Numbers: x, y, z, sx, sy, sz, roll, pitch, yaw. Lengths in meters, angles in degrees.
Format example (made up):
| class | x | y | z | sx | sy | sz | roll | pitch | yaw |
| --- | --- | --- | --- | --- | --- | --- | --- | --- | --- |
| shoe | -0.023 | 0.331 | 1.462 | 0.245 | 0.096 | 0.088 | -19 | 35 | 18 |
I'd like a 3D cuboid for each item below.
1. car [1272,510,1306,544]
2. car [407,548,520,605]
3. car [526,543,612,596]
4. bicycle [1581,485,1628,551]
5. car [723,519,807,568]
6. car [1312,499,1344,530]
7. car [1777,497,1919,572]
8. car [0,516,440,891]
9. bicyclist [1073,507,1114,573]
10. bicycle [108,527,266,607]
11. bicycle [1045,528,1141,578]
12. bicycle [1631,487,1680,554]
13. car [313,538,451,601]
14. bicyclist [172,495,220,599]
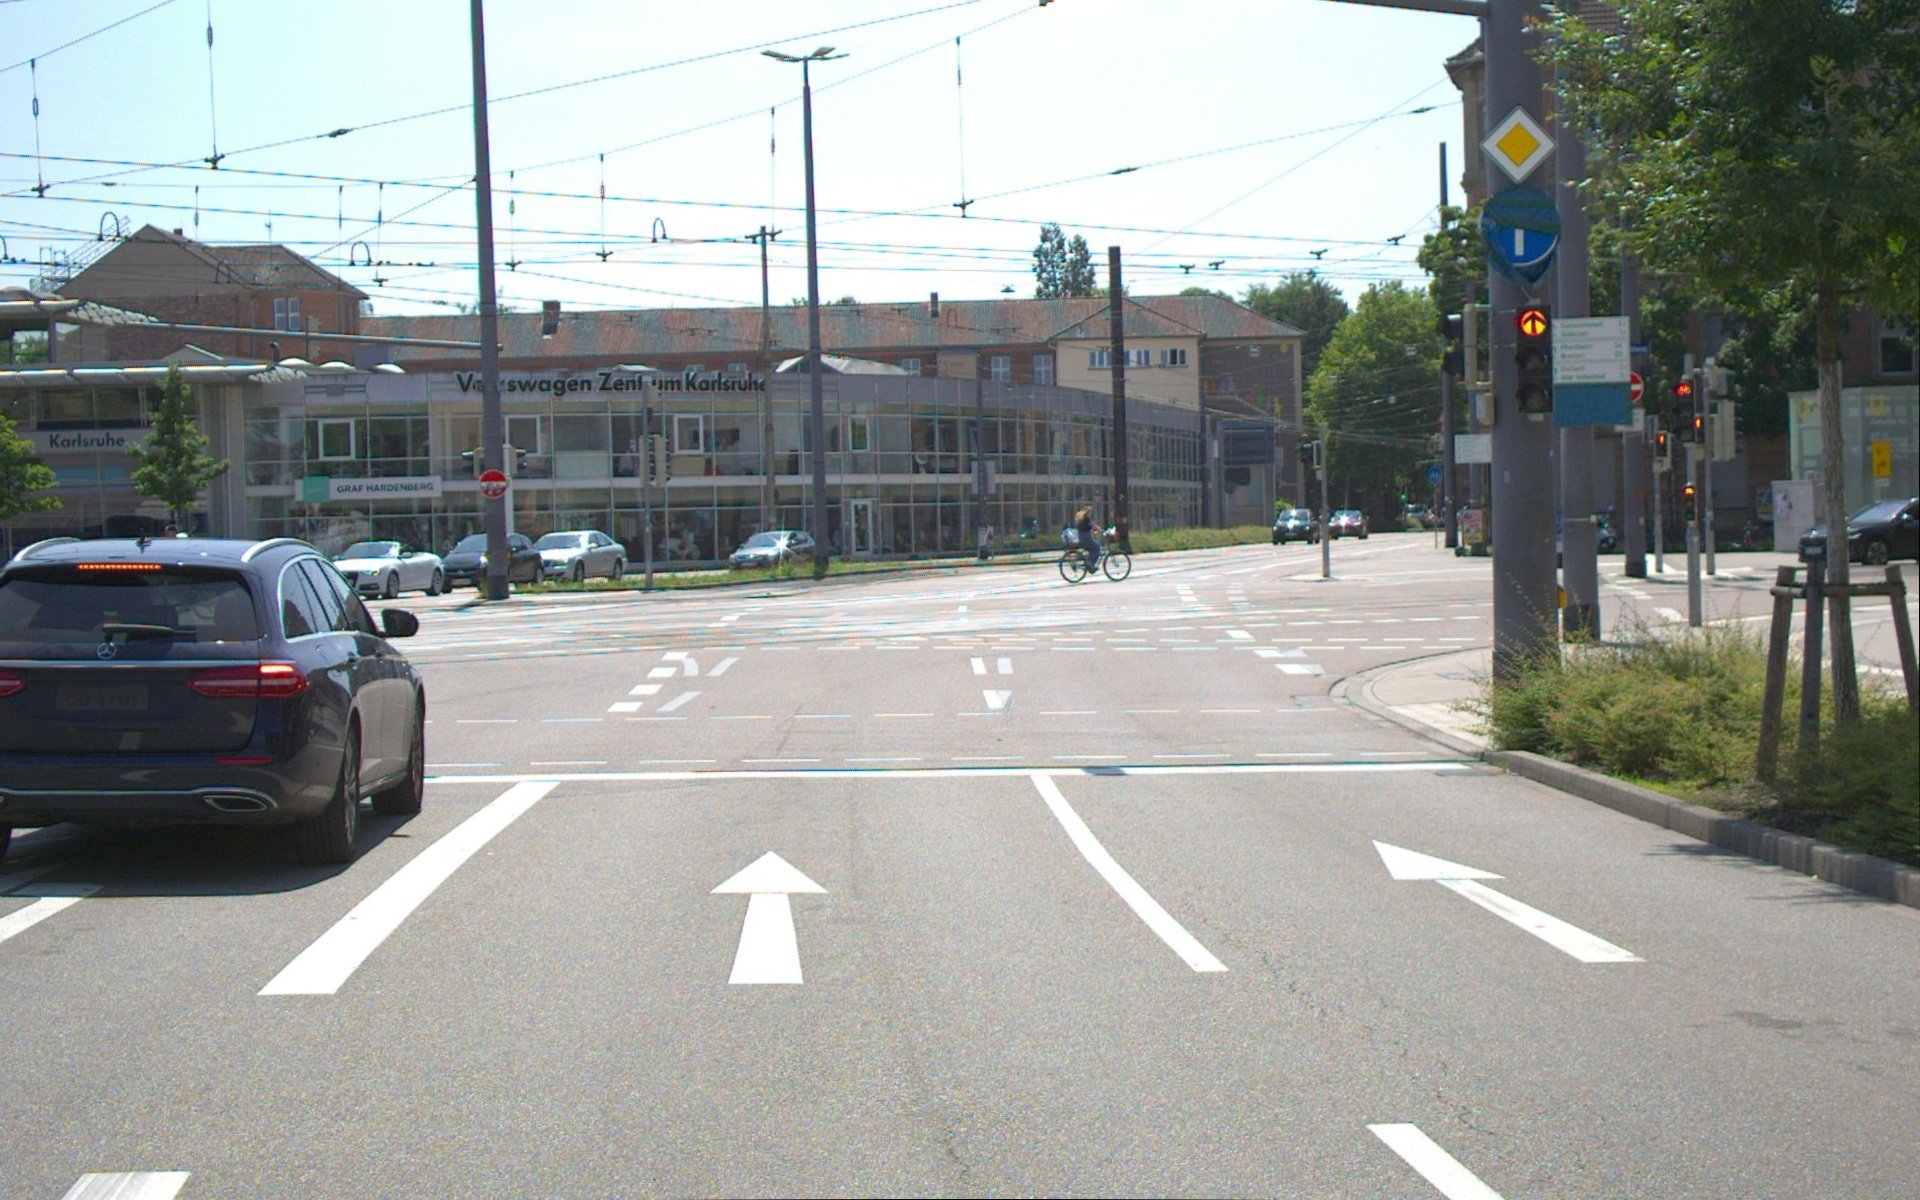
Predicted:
| class | x | y | z | sx | sy | sz | roll | pitch | yaw |
| --- | --- | --- | --- | --- | --- | --- | --- | --- | --- |
| car | 15.265 | -3.409 | 159.542 | 1.531 | 1.454 | 3.552 | 0 | 3 | 6 |
| car | -12.490 | -0.603 | 86.609 | 1.539 | 1.273 | 3.537 | 0 | 3 | 15 |
| car | -10.519 | -0.841 | 92.665 | 1.432 | 1.281 | 3.260 | 0 | 3 | 10 |
| bicycle | 18.156 | -2.330 | 96.921 | 0.612 | 1.782 | 3.182 | 0 | 3 | -2 |
| car | -6.102 | -1.792 | 108.052 | 1.572 | 1.422 | 3.611 | 0 | 3 | 15 |
| car | 19.614 | -4.563 | 183.476 | 1.586 | 1.523 | 3.715 | 0 | 3 | 4 |
| car | 19.198 | -1.374 | 71.383 | 4.100 | 1.446 | 1.698 | -2 | 3 | -21 |
| car | -3.658 | 0.397 | 16.748 | 1.716 | 1.551 | 4.587 | -1 | 1 | -3 |
| bicyclist | 3.047 | -1.378 | 78.687 | 0.731 | 1.474 | 0.656 | -1 | 3 | -20 |
| bicycle | -14.555 | -0.620 | 64.784 | 2.825 | 1.458 | 0.634 | -1 | 3 | -4 |
| bicycle | 3.047 | -1.080 | 78.696 | 2.160 | 1.103 | 0.457 | -1 | 3 | -20 |
| bicycle | 19.592 | -2.260 | 96.883 | 0.612 | 1.782 | 3.182 | 0 | 3 | -2 |
| car | -13.498 | -0.724 | 80.500 | 1.620 | 1.385 | 4.122 | -1 | 1 | 15 |
| bicyclist | -14.389 | -0.995 | 64.790 | 0.763 | 1.931 | 0.660 | 0 | 3 | -4 |
